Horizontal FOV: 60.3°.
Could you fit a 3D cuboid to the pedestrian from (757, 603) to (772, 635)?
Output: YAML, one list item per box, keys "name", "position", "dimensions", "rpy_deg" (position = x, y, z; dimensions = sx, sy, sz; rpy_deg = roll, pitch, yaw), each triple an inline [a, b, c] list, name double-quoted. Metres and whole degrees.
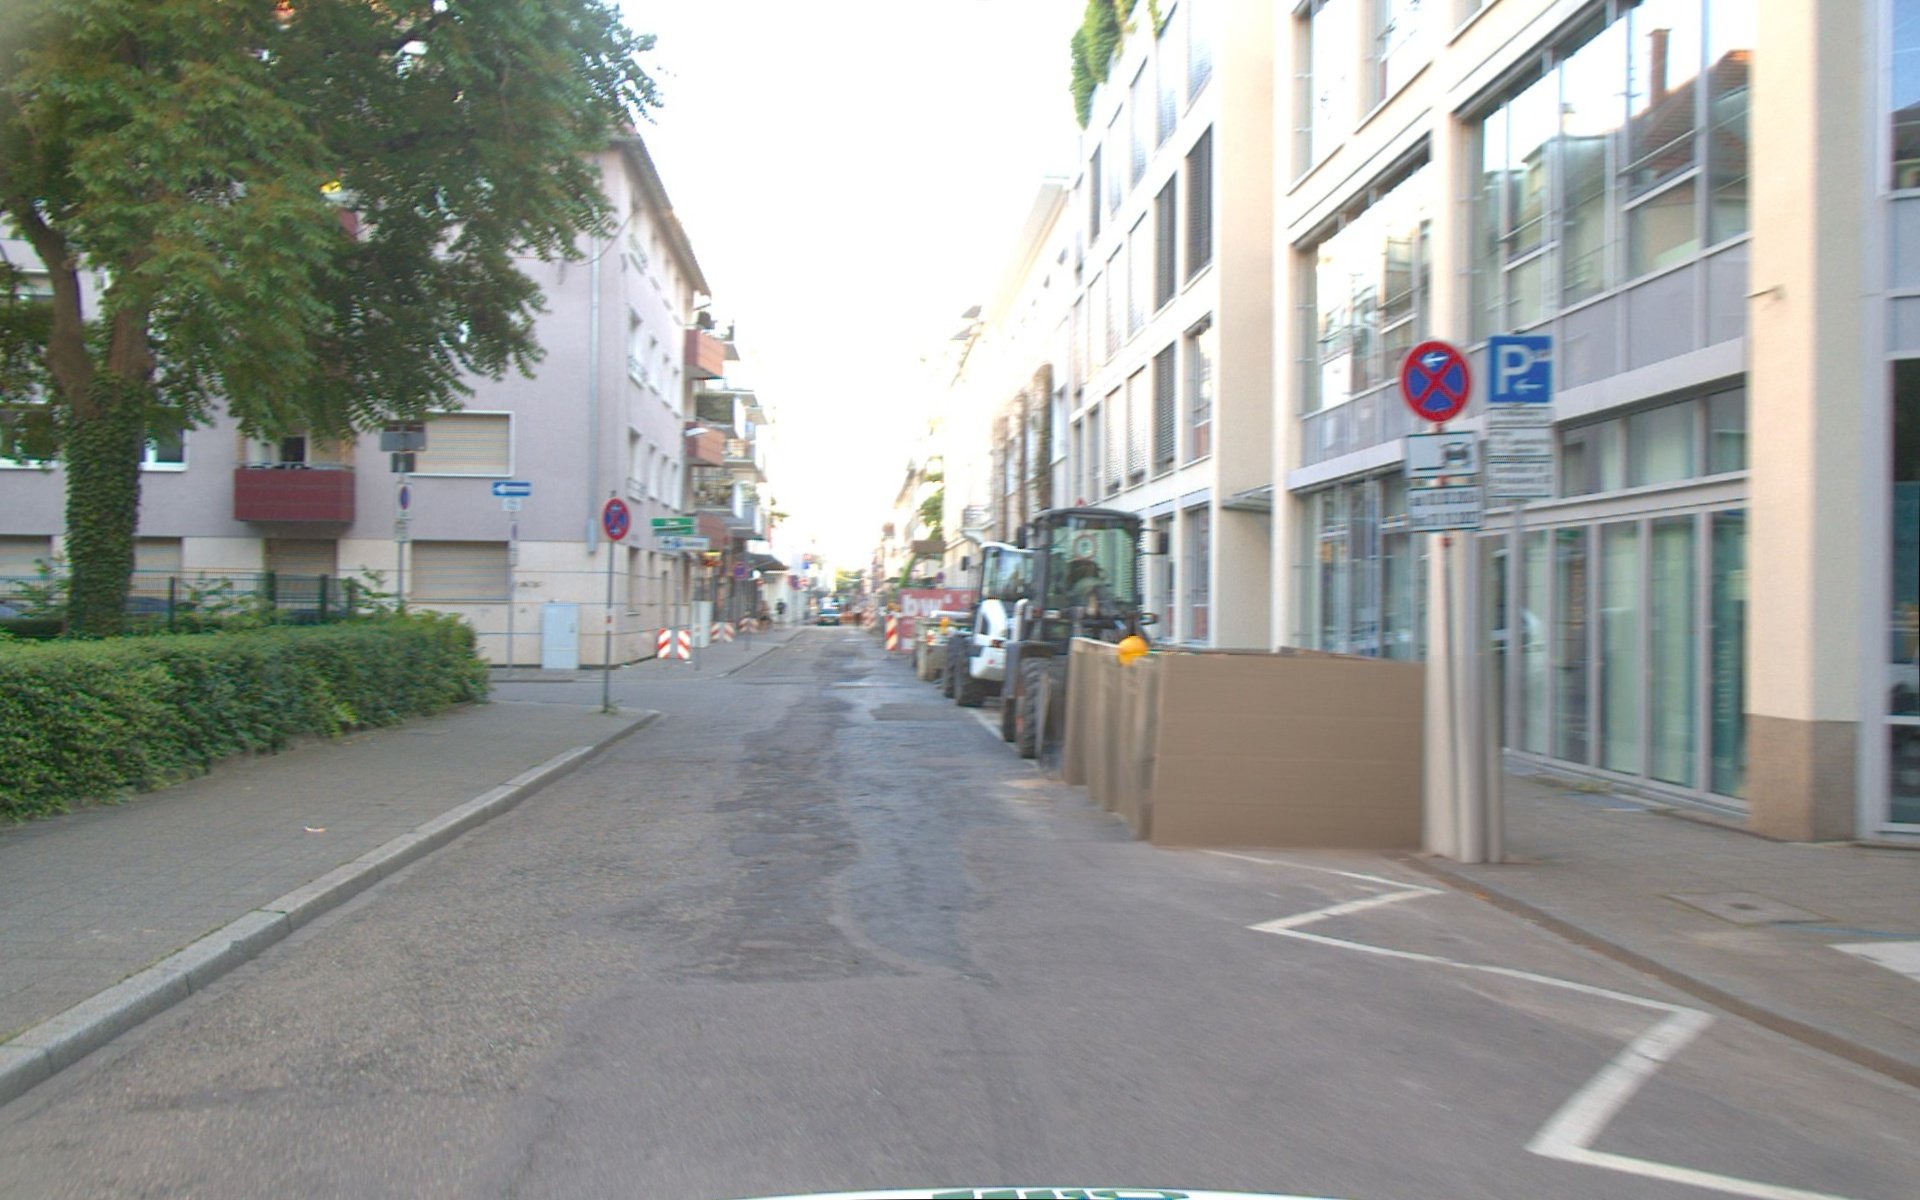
- name: "pedestrian"
  position: [-9.753, 0.958, 82.469]
  dimensions: [0.635, 1.592, 0.627]
  rpy_deg: [1, 0, -19]

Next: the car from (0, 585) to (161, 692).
- name: "car"
  position: [-15.625, 0.592, 26.937]
  dimensions: [4.283, 1.669, 1.827]
  rpy_deg: [1, 0, -3]

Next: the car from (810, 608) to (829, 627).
- name: "car"
  position: [-11.166, 1.399, 131.622]
  dimensions: [1.445, 1.422, 3.329]
  rpy_deg: [0, -1, -4]

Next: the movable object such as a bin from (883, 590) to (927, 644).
- name: "movable object such as a bin"
  position: [-3.397, 1.009, 100.838]
  dimensions: [2.422, 3.185, 4.294]
  rpy_deg: [1, 0, -4]

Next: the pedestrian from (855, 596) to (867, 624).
- name: "pedestrian"
  position: [-6.238, 0.617, 103.731]
  dimensions: [0.706, 1.770, 0.646]
  rpy_deg: [0, -1, -7]

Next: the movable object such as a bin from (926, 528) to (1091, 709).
- name: "movable object such as a bin"
  position: [0.661, 0.292, 27.159]
  dimensions: [2.124, 2.641, 5.537]
  rpy_deg: [1, -1, -4]

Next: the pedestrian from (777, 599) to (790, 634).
- name: "pedestrian"
  position: [-9.751, 0.913, 91.422]
  dimensions: [0.641, 1.919, 0.574]
  rpy_deg: [1, 0, -3]

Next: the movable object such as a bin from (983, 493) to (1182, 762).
- name: "movable object such as a bin"
  position: [1.258, 0.294, 18.574]
  dimensions: [1.760, 2.680, 4.108]
  rpy_deg: [0, 0, -2]
